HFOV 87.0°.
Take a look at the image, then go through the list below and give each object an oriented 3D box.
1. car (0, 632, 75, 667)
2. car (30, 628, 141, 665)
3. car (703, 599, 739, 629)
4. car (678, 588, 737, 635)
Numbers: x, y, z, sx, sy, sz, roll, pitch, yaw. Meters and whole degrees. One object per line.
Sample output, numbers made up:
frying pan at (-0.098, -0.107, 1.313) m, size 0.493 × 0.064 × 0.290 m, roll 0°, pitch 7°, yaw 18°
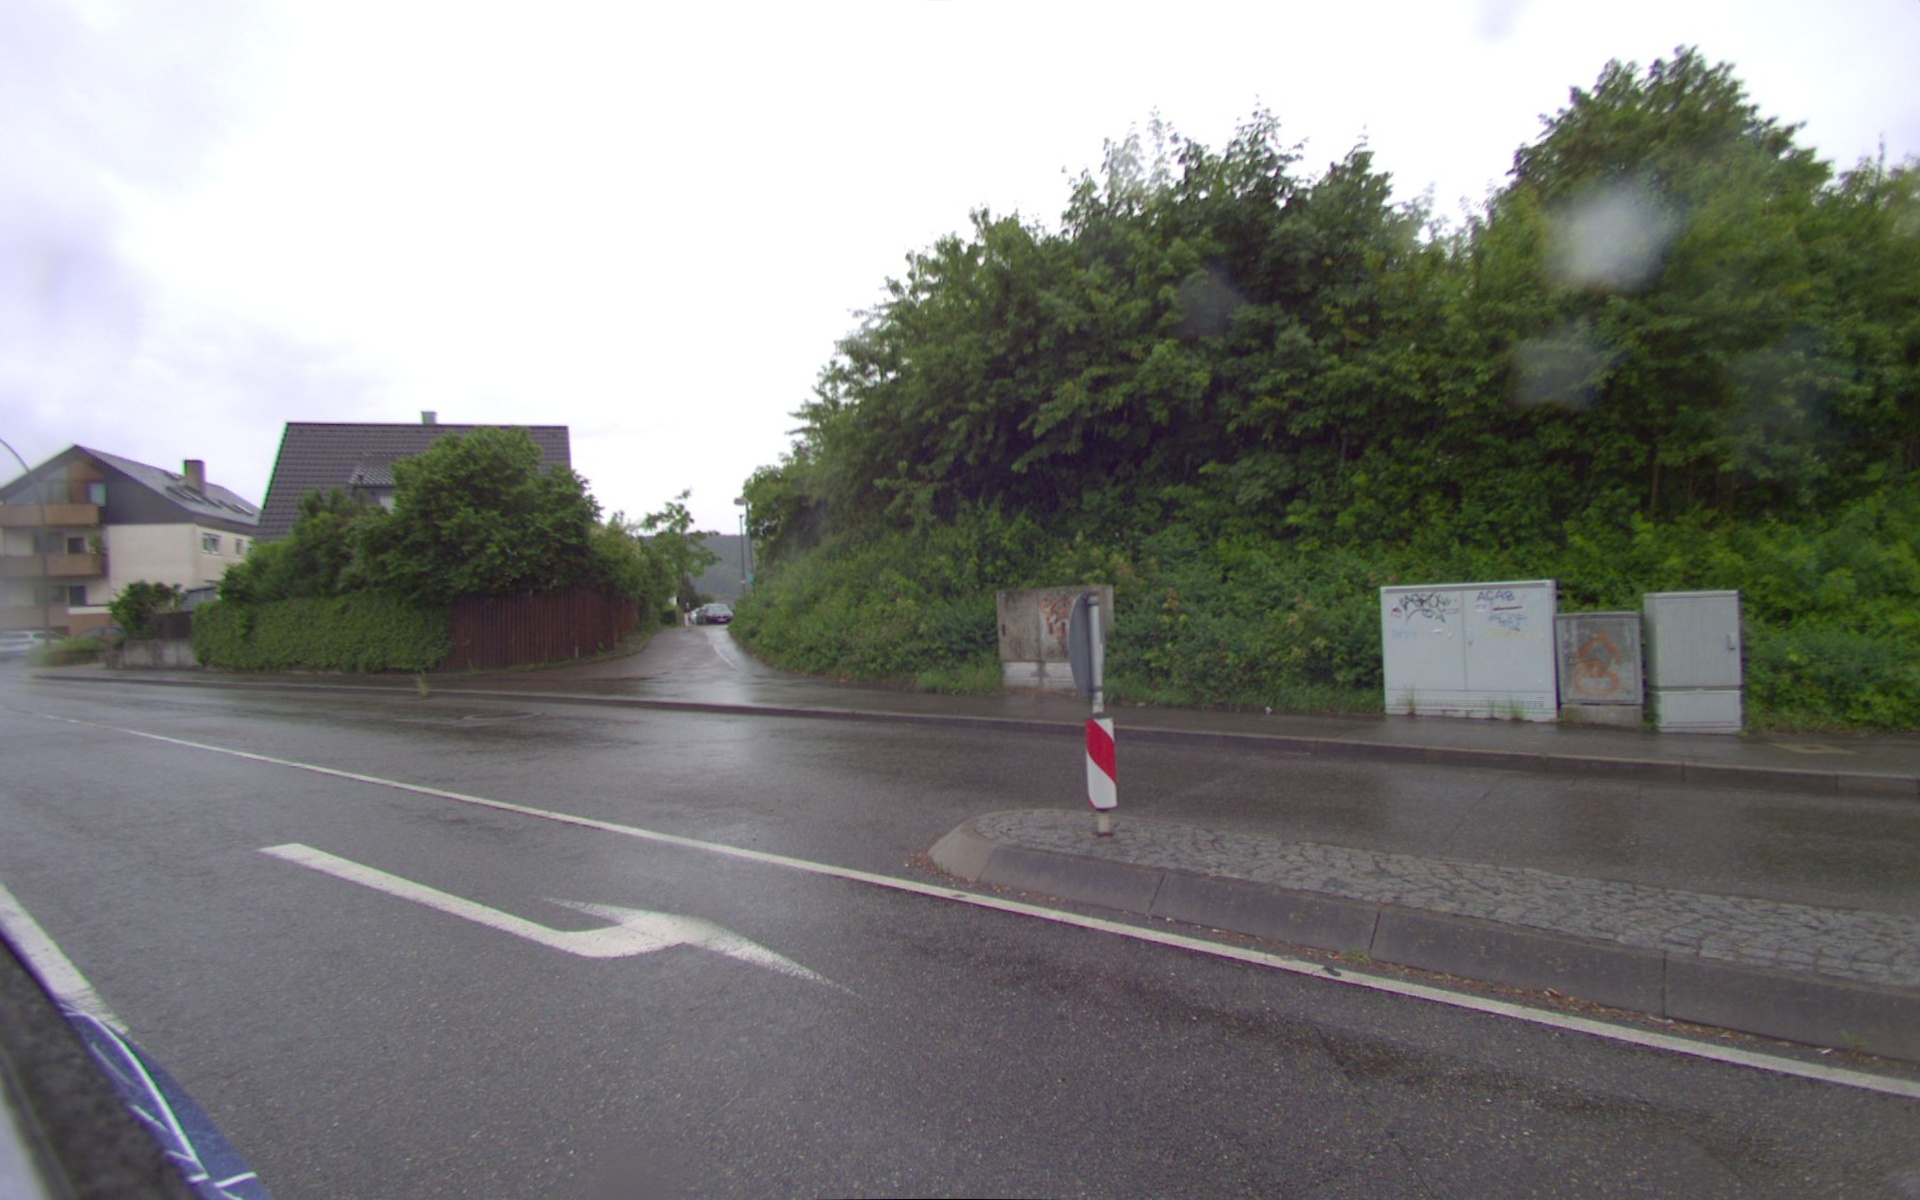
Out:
car at (-46.819, 2.474, 51.040) m, size 1.837 × 1.530 × 4.012 m, roll -2°, pitch 0°, yaw -18°
car at (-41.742, 2.204, 48.379) m, size 3.609 × 1.530 × 1.759 m, roll -2°, pitch 0°, yaw -15°
car at (-15.599, 0.896, 66.171) m, size 1.968 × 1.873 × 4.008 m, roll -2°, pitch 0°, yaw -9°
car at (-9.180, 0.392, 37.050) m, size 1.683 × 1.600 × 3.668 m, roll -1°, pitch 0°, yaw -8°
